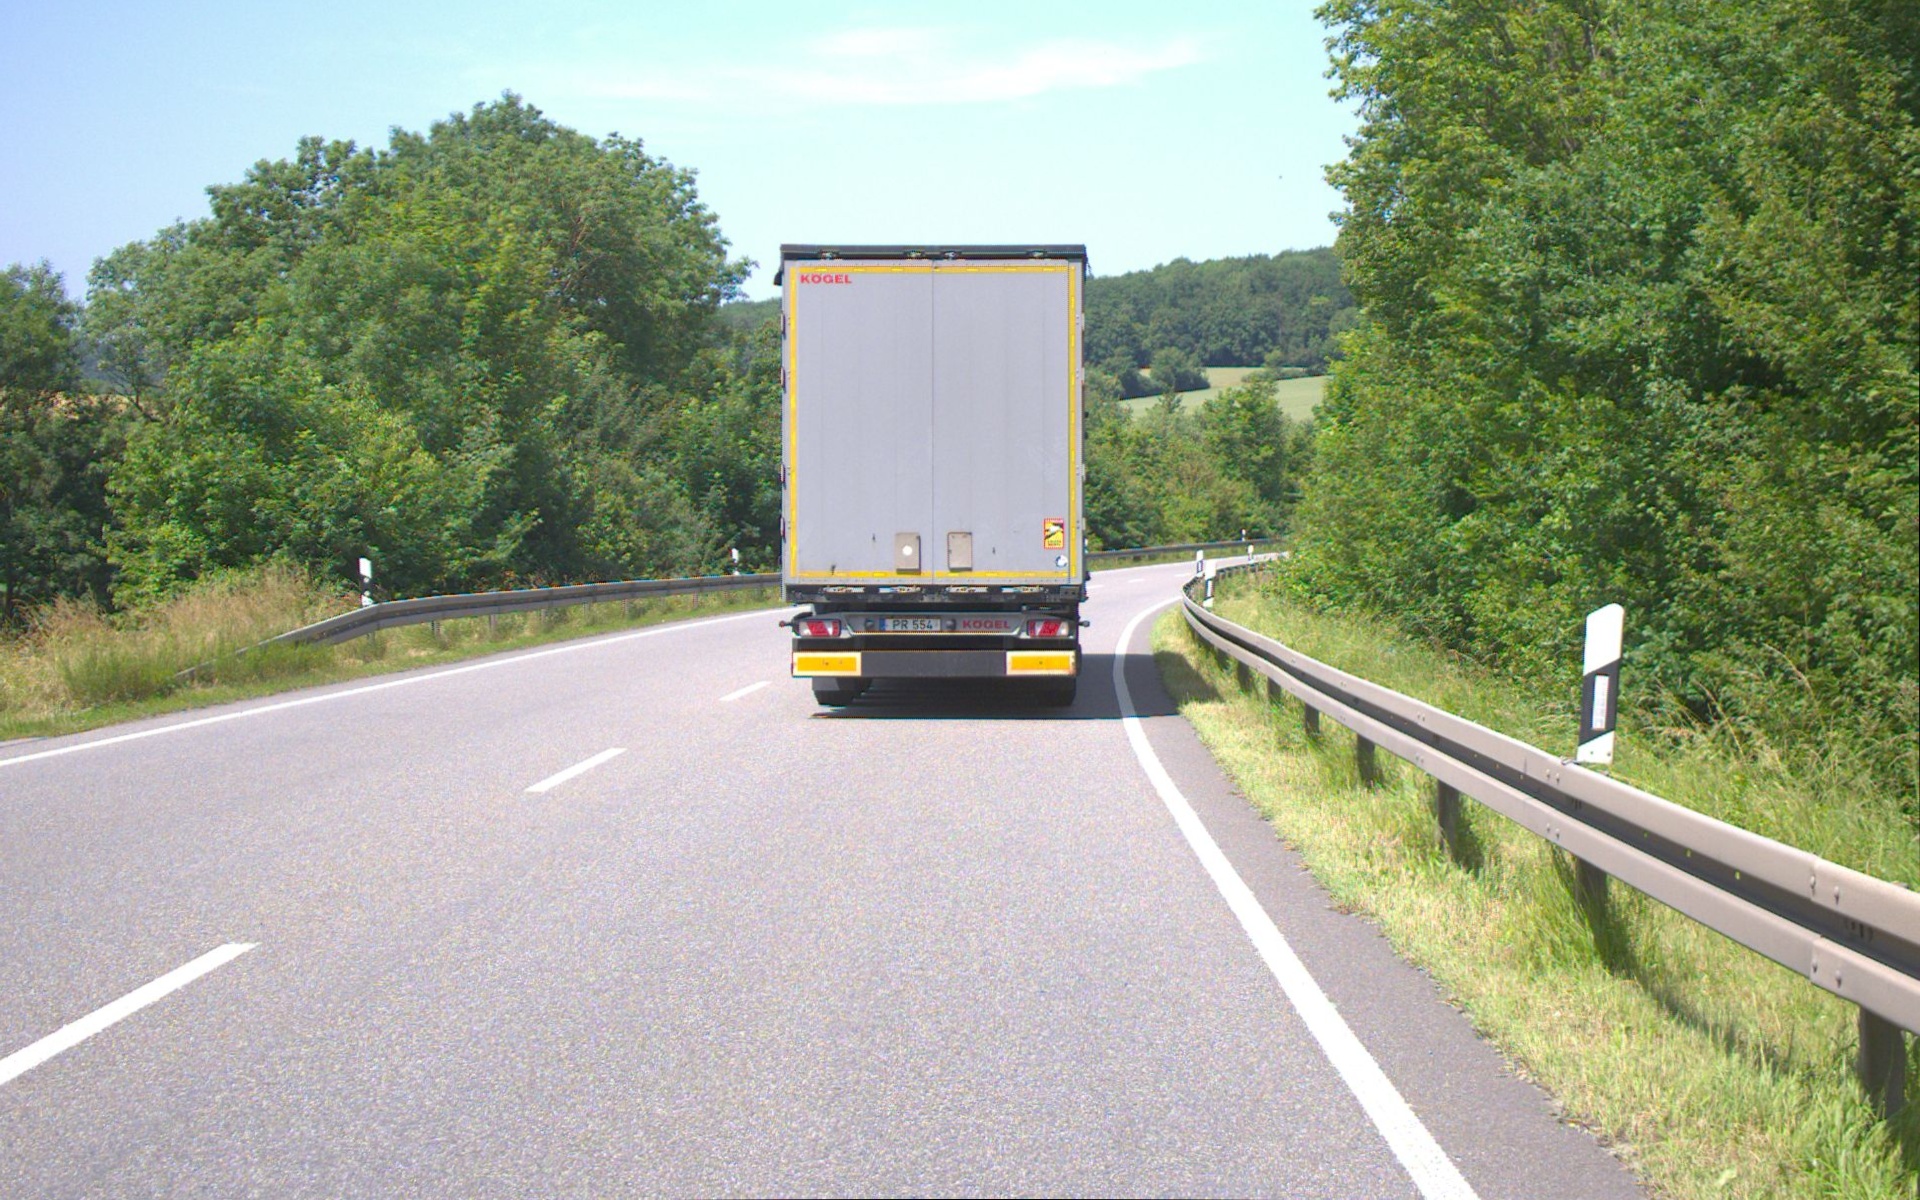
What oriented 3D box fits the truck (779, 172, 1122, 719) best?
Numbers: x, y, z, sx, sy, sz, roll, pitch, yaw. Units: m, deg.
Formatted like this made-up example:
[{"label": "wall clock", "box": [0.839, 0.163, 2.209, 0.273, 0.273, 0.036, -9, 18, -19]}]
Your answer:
[{"label": "truck", "box": [0.025, -1.391, 34.457, 2.817, 4.517, 11.768, 0, 1, 1]}]
